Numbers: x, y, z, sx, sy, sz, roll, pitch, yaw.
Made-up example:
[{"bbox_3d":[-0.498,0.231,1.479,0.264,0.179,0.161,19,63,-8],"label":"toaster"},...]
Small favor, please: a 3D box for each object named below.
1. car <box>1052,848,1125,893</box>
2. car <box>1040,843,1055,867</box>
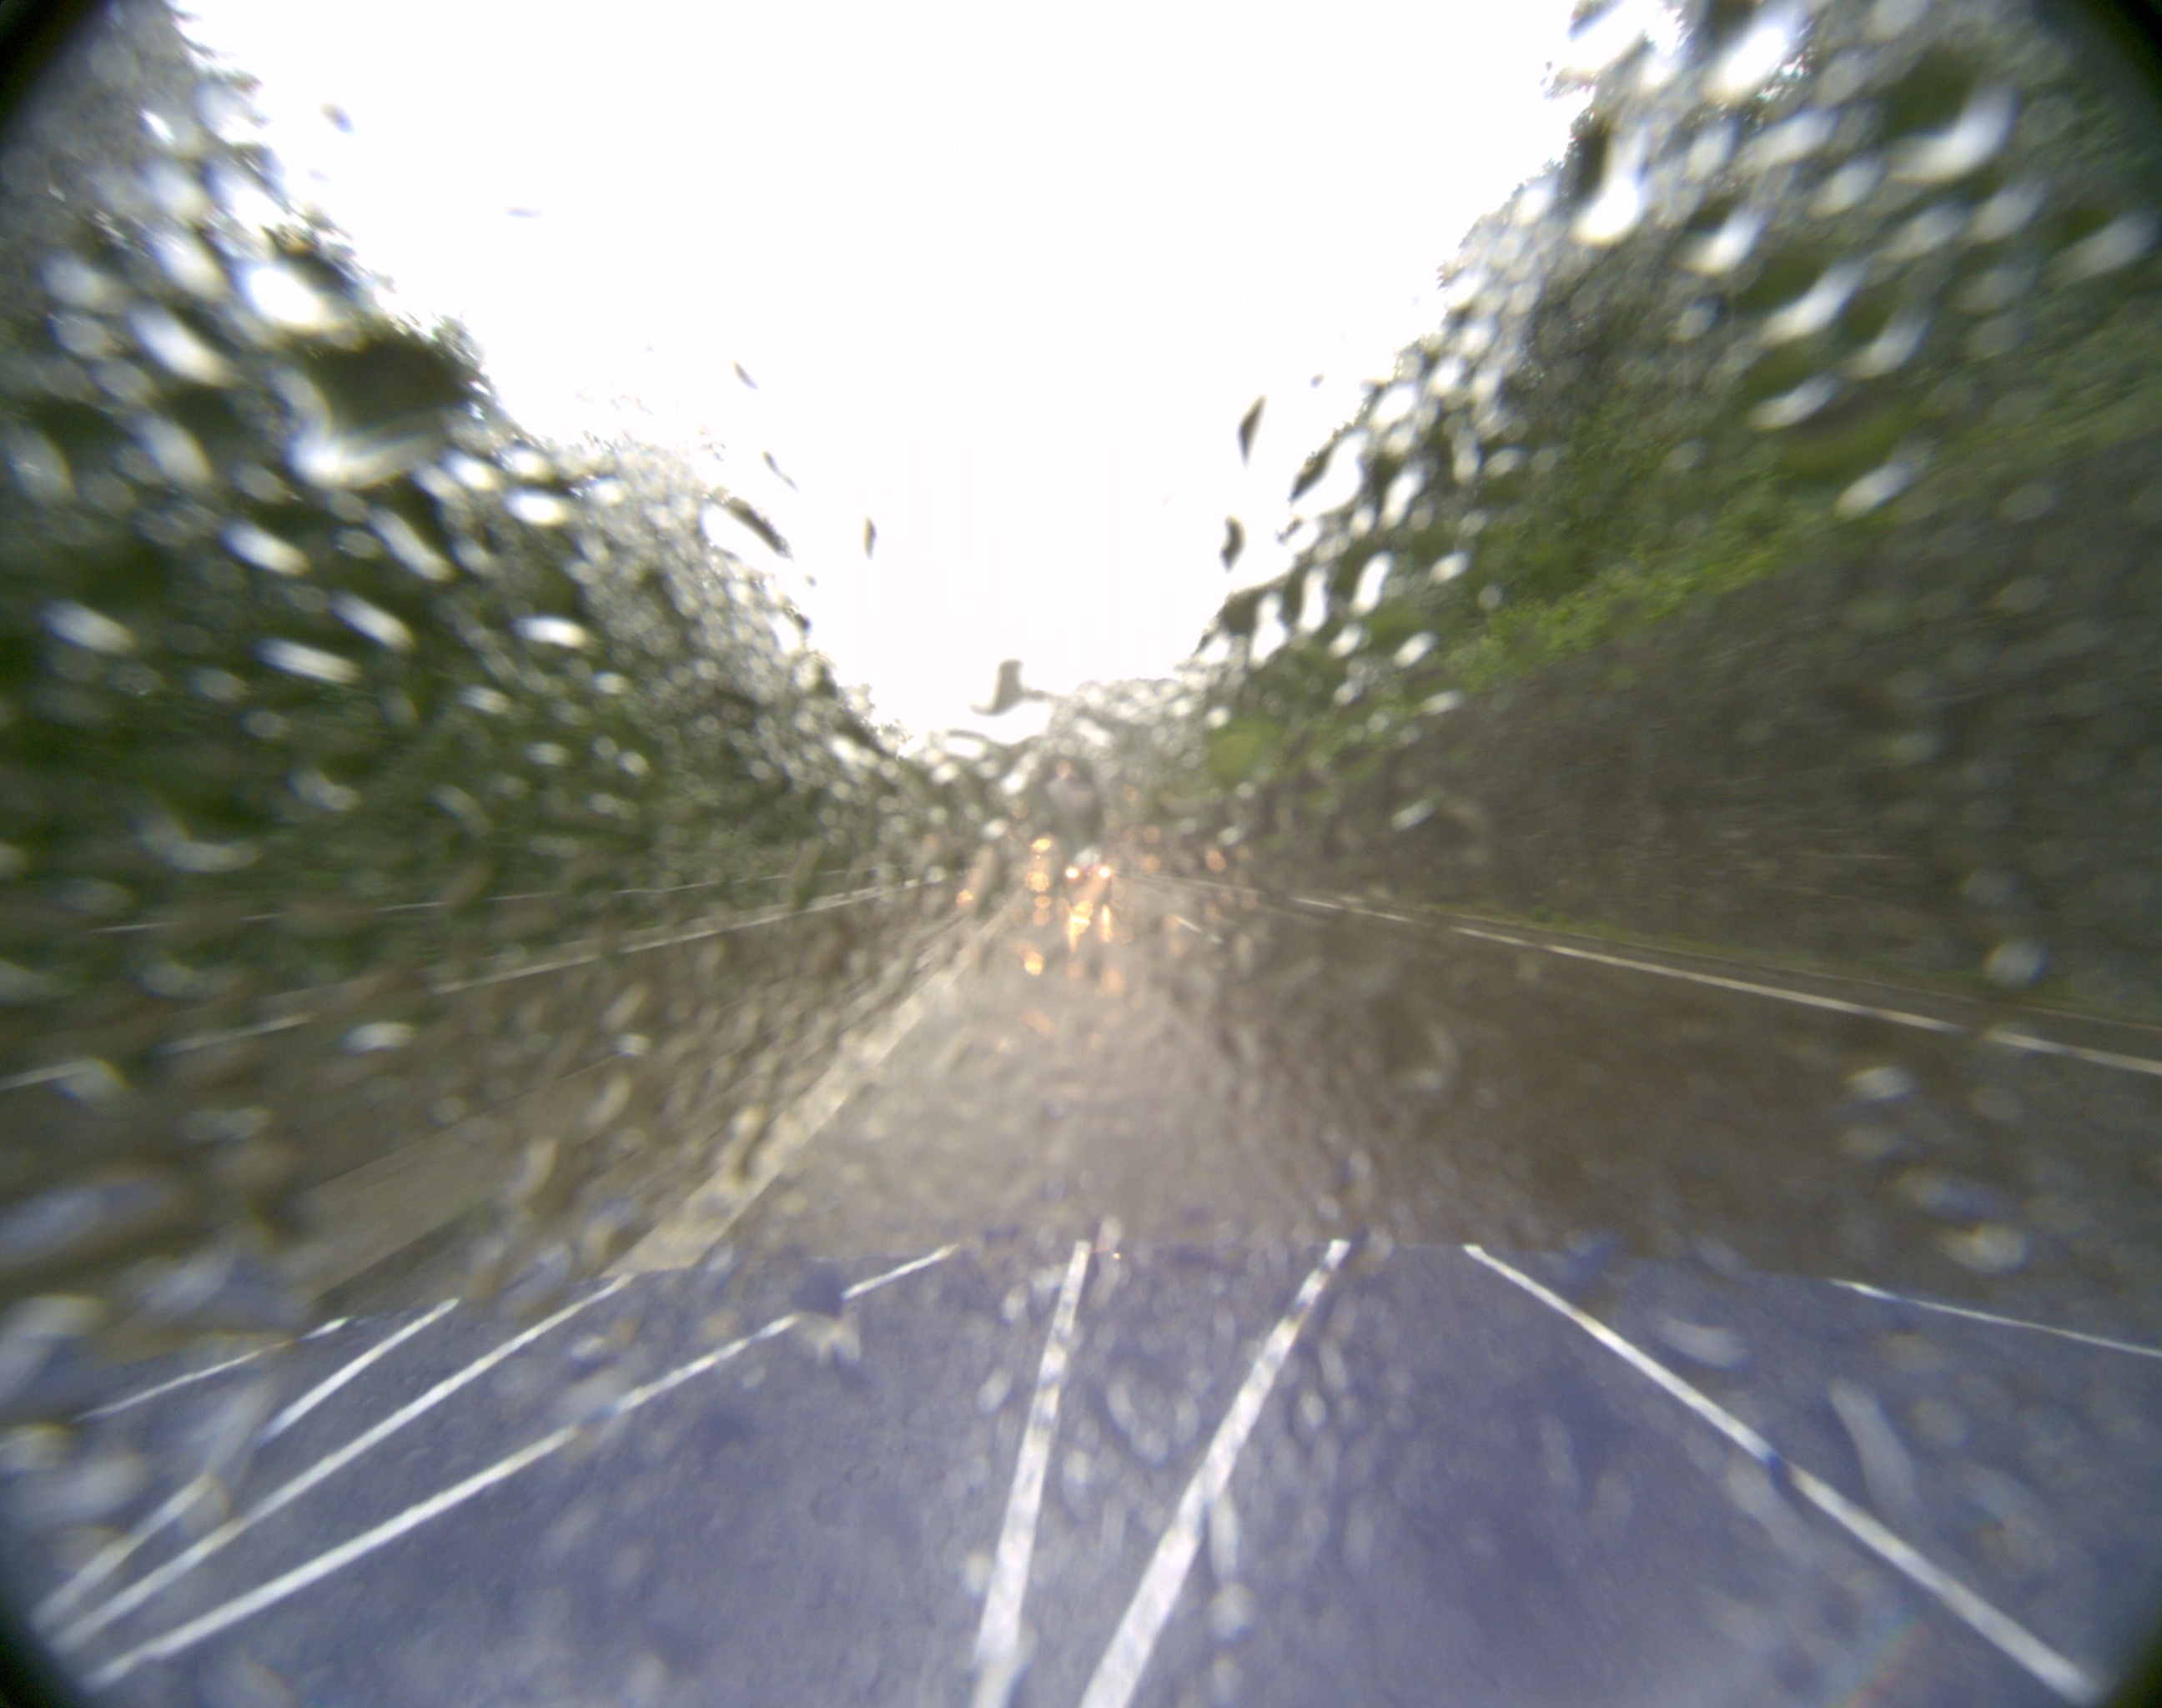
[{"bbox_3d":[0.154,0.548,28.760,2.360,1.549,5.496,0,0,-4],"label":"car"},{"bbox_3d":[-4.444,0.091,101.219,1.742,3.008,3.998,2,1,-5],"label":"car"}]
